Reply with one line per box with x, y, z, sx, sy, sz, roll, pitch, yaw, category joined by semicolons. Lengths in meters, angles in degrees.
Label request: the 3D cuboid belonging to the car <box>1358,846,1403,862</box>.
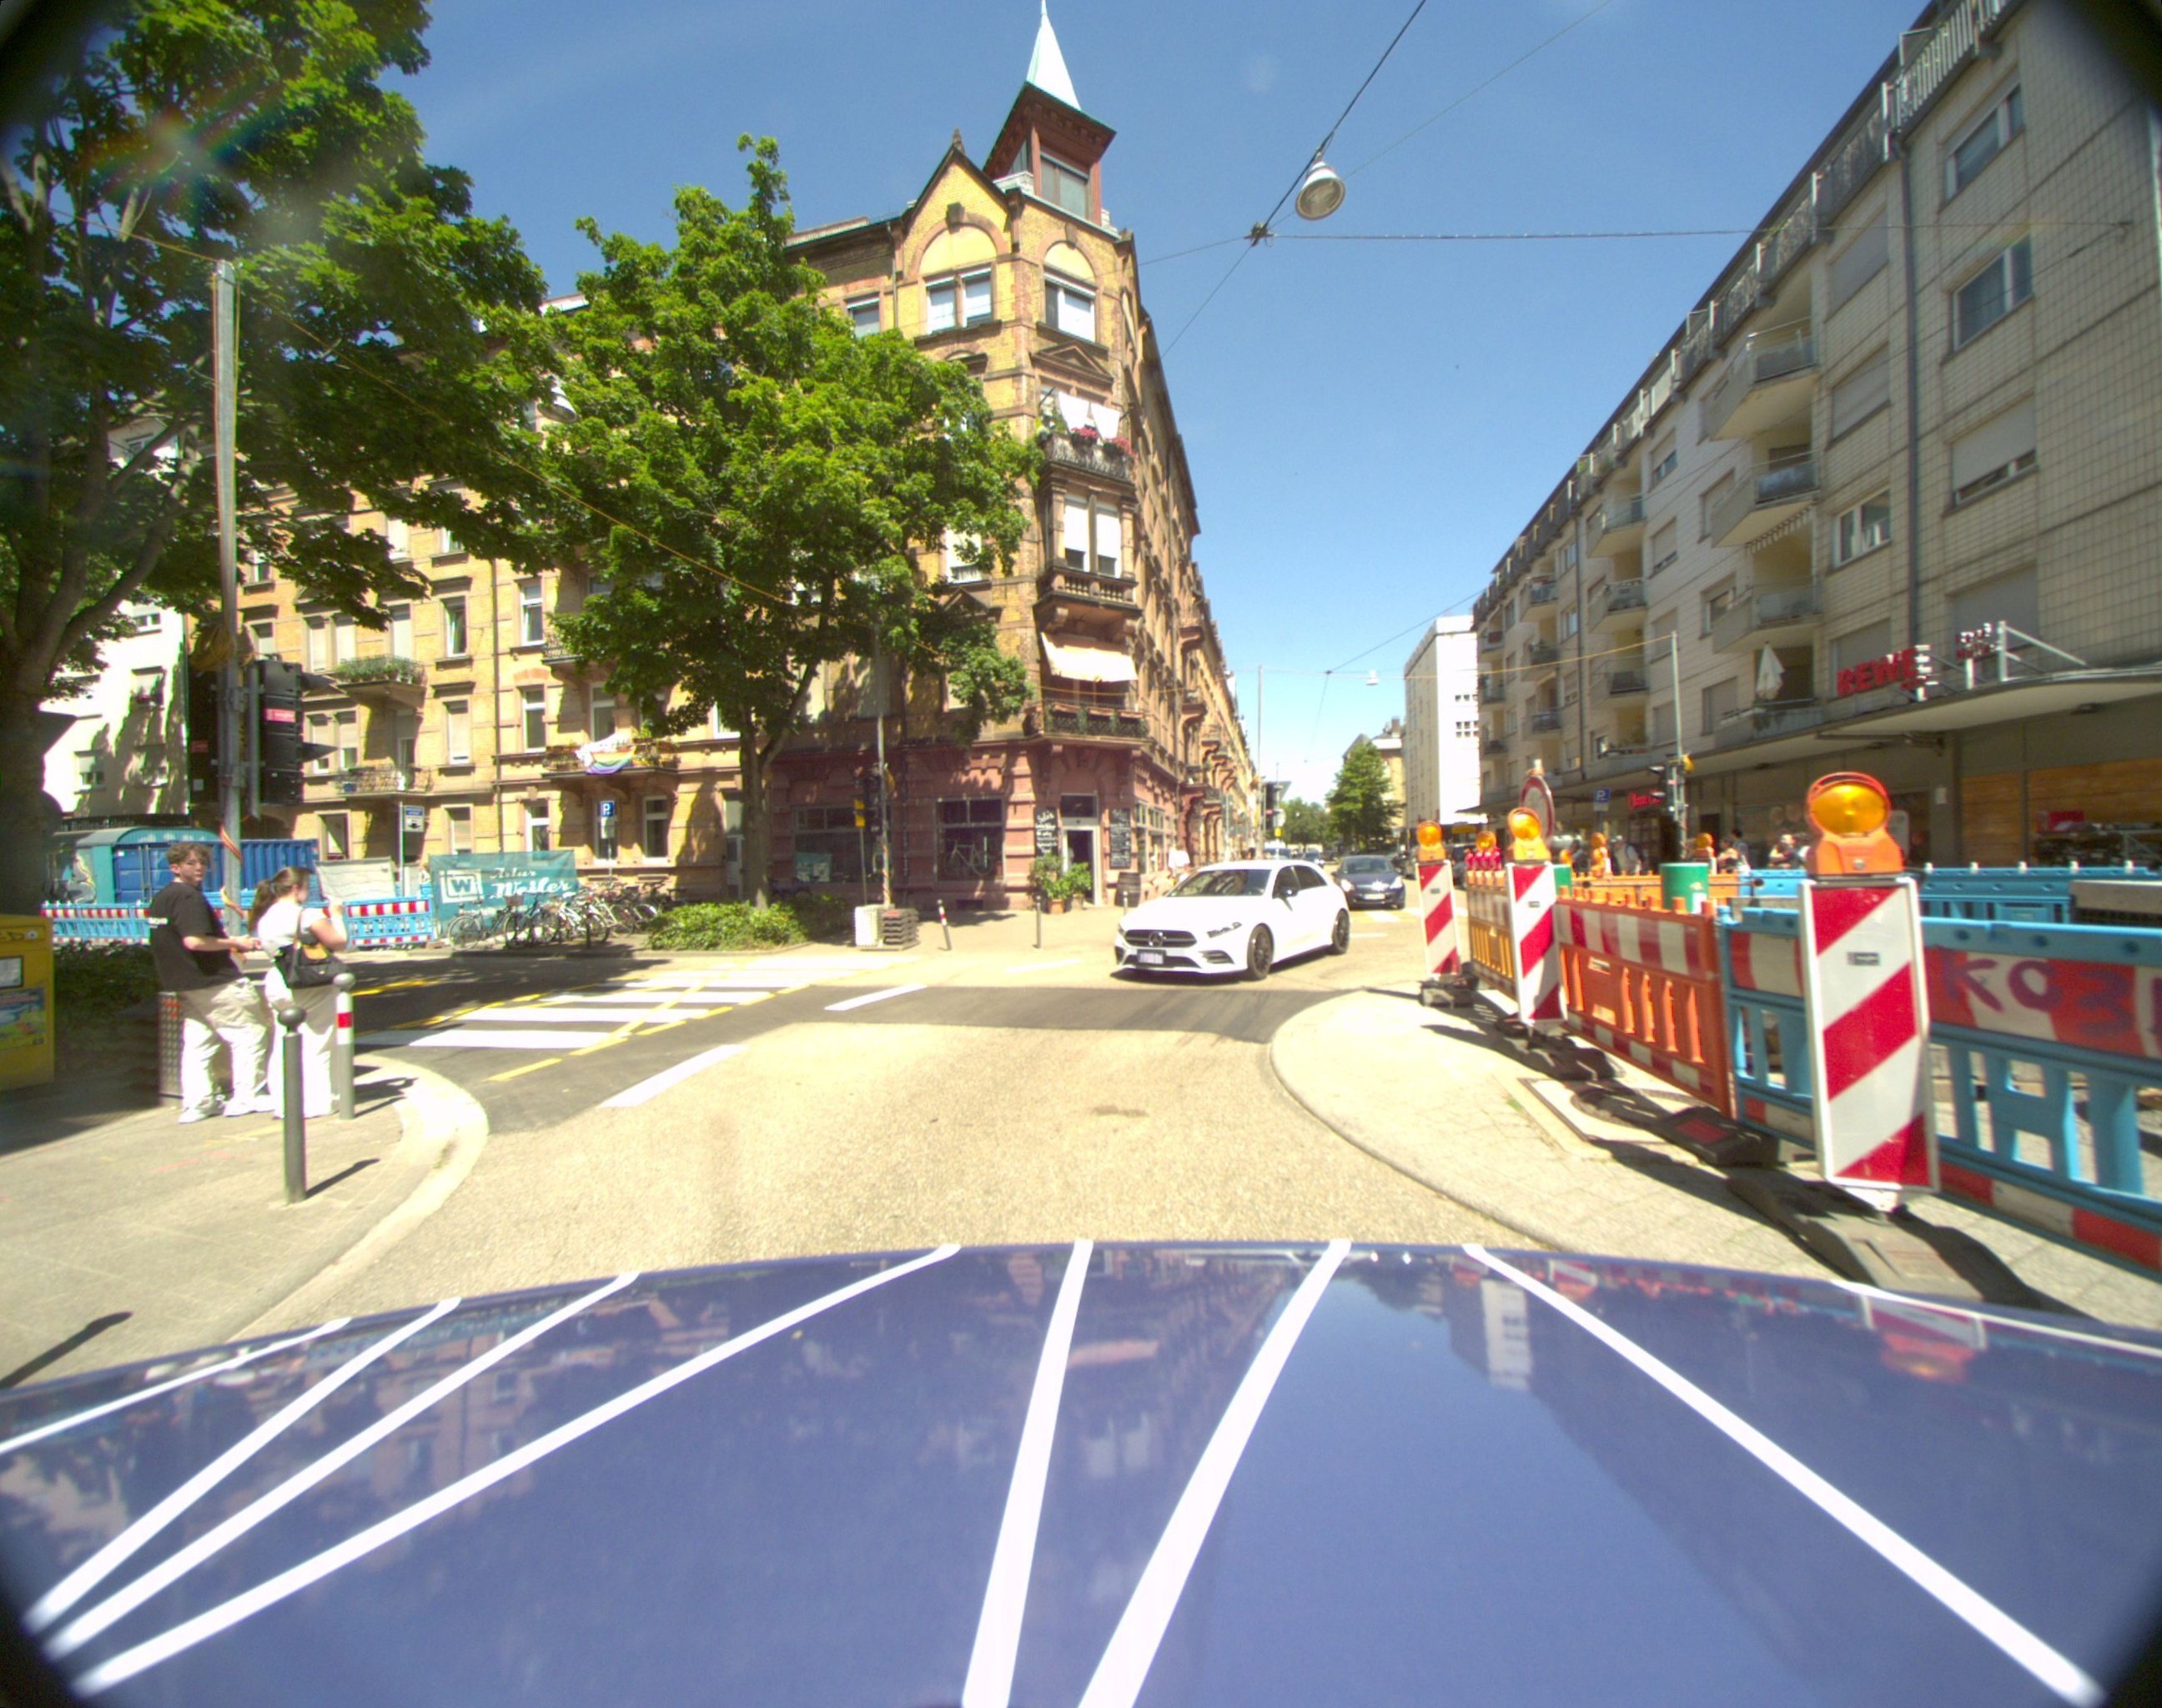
29.030;0.003;73.752;3.881;1.520;1.654;-1;0;14;car

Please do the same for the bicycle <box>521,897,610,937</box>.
-11.945;1.446;17.602;2.070;0.867;0.510;-1;1;18;bicycle

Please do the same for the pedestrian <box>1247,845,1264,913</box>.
4.295;0.606;18.664;0.332;1.666;0.402;-1;1;20;pedestrian

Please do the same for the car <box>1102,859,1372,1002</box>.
2.303;0.844;10.268;1.810;1.417;4.250;-1;0;39;car

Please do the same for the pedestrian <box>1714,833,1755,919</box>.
12.059;0.403;14.024;0.496;1.556;0.460;-3;-1;41;pedestrian

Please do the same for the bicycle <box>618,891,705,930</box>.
-9.889;1.319;17.904;2.070;0.867;0.510;-1;1;18;bicycle

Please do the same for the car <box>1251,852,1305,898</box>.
6.817;0.667;26.124;1.629;1.424;3.664;0;1;17;car

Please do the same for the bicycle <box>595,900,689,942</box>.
-9.665;1.461;16.715;2.070;0.867;0.510;-1;1;18;bicycle

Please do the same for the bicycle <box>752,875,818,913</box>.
-8.197;1.111;21.032;1.693;1.002;0.523;-1;1;15;bicycle

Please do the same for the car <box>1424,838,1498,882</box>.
17.133;0.247;34.523;1.791;1.800;4.703;-2;0;12;car

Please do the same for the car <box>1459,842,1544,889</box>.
15.364;0.387;28.005;1.672;1.516;4.468;-2;0;15;car

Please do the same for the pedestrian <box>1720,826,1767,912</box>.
13.946;0.313;16.001;0.510;1.760;0.600;-1;1;12;pedestrian

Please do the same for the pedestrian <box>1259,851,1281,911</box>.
4.902;0.697;19.708;0.493;1.534;0.437;1;2;20;pedestrian

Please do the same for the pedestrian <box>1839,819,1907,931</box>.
13.055;0.342;12.538;0.510;1.809;0.600;-1;1;12;pedestrian

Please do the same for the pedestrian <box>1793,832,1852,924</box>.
13.372;0.424;13.718;0.510;1.623;0.600;-1;1;12;pedestrian

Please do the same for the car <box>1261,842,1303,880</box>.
9.923;0.304;37.743;1.827;1.757;4.342;0;1;13;car

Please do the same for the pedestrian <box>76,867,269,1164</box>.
-5.746;0.977;4.832;0.576;1.758;0.472;1;-2;6;pedestrian

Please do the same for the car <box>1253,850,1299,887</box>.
8.085;0.557;31.791;1.728;1.424;4.489;0;1;13;car

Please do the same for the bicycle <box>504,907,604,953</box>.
-10.785;1.542;15.547;2.070;0.867;0.510;-1;1;18;bicycle

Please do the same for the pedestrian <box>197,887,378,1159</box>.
-5.034;1.031;4.841;0.703;1.635;0.423;-1;-2;6;pedestrian

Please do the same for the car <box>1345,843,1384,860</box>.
32.281;-0.288;86.610;3.881;1.737;1.654;-1;0;14;car

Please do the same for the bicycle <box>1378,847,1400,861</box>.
25.913;0.019;63.939;1.607;1.084;0.371;-3;0;20;bicycle

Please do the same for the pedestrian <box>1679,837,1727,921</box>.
12.281;0.484;15.009;0.542;1.623;0.512;-1;1;12;pedestrian

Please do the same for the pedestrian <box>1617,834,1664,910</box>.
12.817;0.407;17.412;0.657;1.717;0.633;-1;1;12;pedestrian

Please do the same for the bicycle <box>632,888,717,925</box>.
-9.965;1.280;18.611;2.070;0.867;0.510;-1;1;18;bicycle

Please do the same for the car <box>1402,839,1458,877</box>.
18.530;0.191;40.564;1.791;1.818;4.905;-2;0;14;car

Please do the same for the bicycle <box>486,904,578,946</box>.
-12.274;1.570;16.977;2.070;0.867;0.510;-1;1;18;bicycle

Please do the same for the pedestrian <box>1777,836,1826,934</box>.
12.052;0.508;12.722;0.390;1.608;0.476;-1;1;12;pedestrian

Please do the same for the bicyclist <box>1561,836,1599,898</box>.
14.229;0.370;21.700;0.624;1.697;0.979;-2;2;17;bicyclist

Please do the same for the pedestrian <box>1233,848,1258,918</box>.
3.738;0.651;17.278;0.460;1.551;0.479;-1;1;20;pedestrian

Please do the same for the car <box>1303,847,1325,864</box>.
20.072;0.077;65.519;1.746;1.382;4.005;-1;0;17;car

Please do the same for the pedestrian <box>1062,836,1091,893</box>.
-0.126;0.303;22.889;0.725;1.709;0.495;-2;3;-31;pedestrian

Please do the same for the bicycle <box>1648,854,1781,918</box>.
11.547;0.594;13.923;1.806;1.112;0.469;-3;0;36;bicycle

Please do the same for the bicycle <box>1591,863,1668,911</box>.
13.686;0.831;18.981;1.522;1.110;0.336;-4;0;10;bicycle

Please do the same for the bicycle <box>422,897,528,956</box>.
-11.966;1.431;15.022;1.782;1.101;0.509;-1;2;8;bicycle

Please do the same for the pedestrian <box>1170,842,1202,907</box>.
2.861;0.540;20.704;0.477;1.723;0.873;-1;2;33;pedestrian

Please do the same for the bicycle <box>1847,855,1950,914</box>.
15.690;0.569;14.622;0.321;1.080;1.432;-2;-1;-4;bicycle

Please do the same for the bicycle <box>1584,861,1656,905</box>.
13.792;0.730;19.449;1.450;1.030;0.336;-4;0;10;bicycle

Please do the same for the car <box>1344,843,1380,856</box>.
33.933;-0.498;91.952;3.881;1.487;1.654;-1;0;14;car

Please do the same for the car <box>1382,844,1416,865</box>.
23.576;0.026;56.487;1.812;1.417;3.896;-1;0;15;car

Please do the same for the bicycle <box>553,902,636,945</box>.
-10.467;1.478;16.345;1.741;0.867;0.510;-1;1;18;bicycle

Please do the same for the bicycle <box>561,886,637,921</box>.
-12.883;1.319;20.301;2.070;0.867;0.510;-1;1;18;bicycle

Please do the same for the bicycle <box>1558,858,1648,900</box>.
14.322;0.680;20.903;1.936;1.085;0.605;-2;0;16;bicycle

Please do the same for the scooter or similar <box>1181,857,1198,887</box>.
4.365;0.716;30.439;0.293;1.170;1.274;-1;0;24;scooter or similar

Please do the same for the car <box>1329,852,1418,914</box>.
7.943;0.729;20.970;1.778;1.460;4.004;-3;0;14;car

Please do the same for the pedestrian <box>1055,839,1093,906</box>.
-0.186;0.500;21.187;0.943;1.810;0.455;-2;4;-32;pedestrian

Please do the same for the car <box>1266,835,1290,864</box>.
19.600;-0.500;75.553;2.065;2.686;5.044;-3;0;14;car

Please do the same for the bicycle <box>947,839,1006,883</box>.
-2.765;0.187;20.169;1.424;1.145;0.510;-1;1;17;bicycle
